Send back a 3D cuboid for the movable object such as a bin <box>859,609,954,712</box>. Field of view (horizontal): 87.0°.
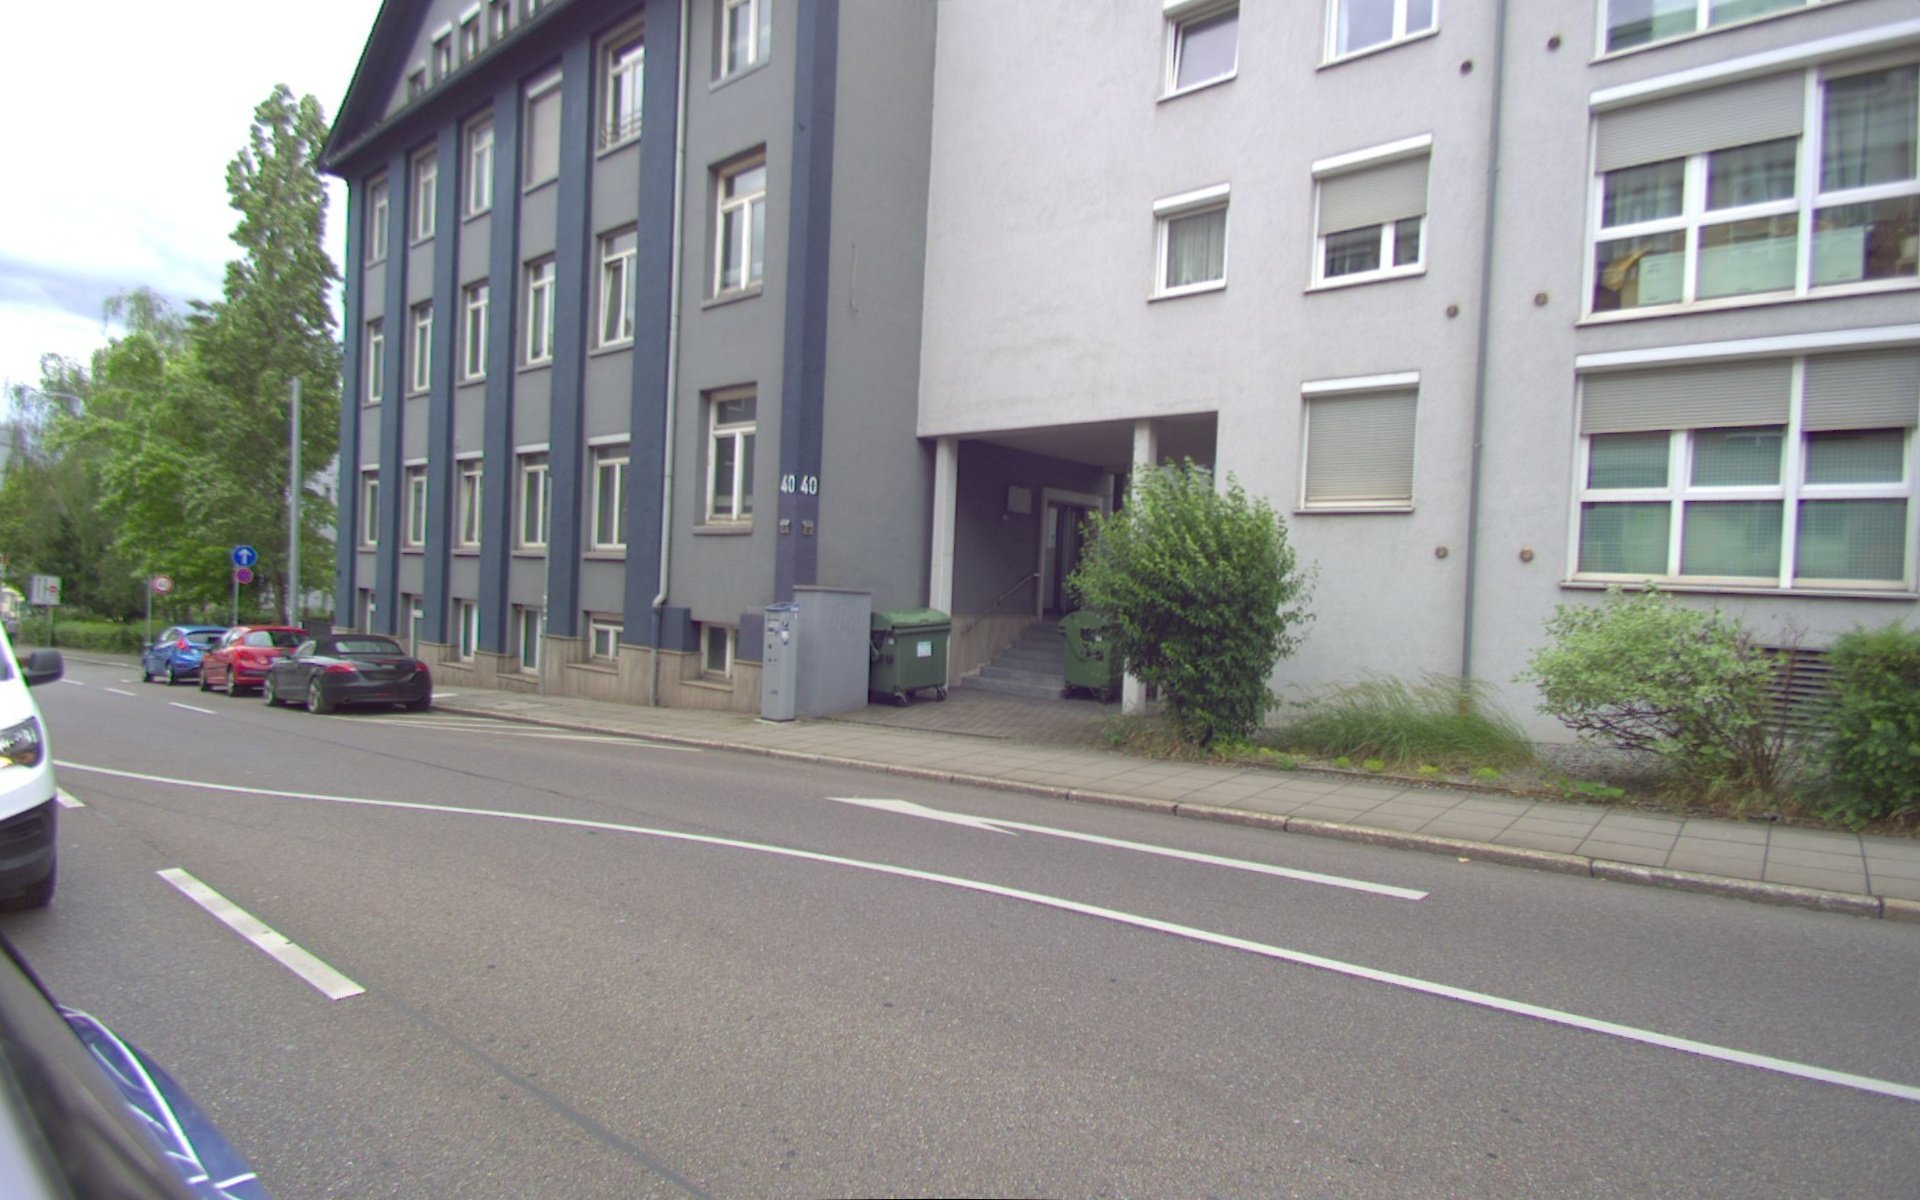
[{"bbox_3d":[-0.817,0.898,15.672,0.784,1.467,1.251,0,1,44],"label":"movable object such as a bin"}]

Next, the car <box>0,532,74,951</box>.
[{"bbox_3d":[-6.462,0.661,5.537,4.937,1.821,1.816,-1,0,42],"label":"car"}]

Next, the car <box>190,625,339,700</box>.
[{"bbox_3d":[-15.223,1.326,22.096,3.868,1.485,1.795,-2,-4,43],"label":"car"}]

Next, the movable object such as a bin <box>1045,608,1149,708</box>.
[{"bbox_3d":[2.252,0.919,16.616,1.190,1.489,1.132,5,2,41],"label":"movable object such as a bin"}]

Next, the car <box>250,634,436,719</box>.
[{"bbox_3d":[-11.123,1.311,18.142,4.040,1.337,1.701,-1,-4,42],"label":"car"}]

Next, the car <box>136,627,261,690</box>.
[{"bbox_3d":[-19.360,1.442,25.690,3.724,1.465,1.702,-1,-3,40],"label":"car"}]
